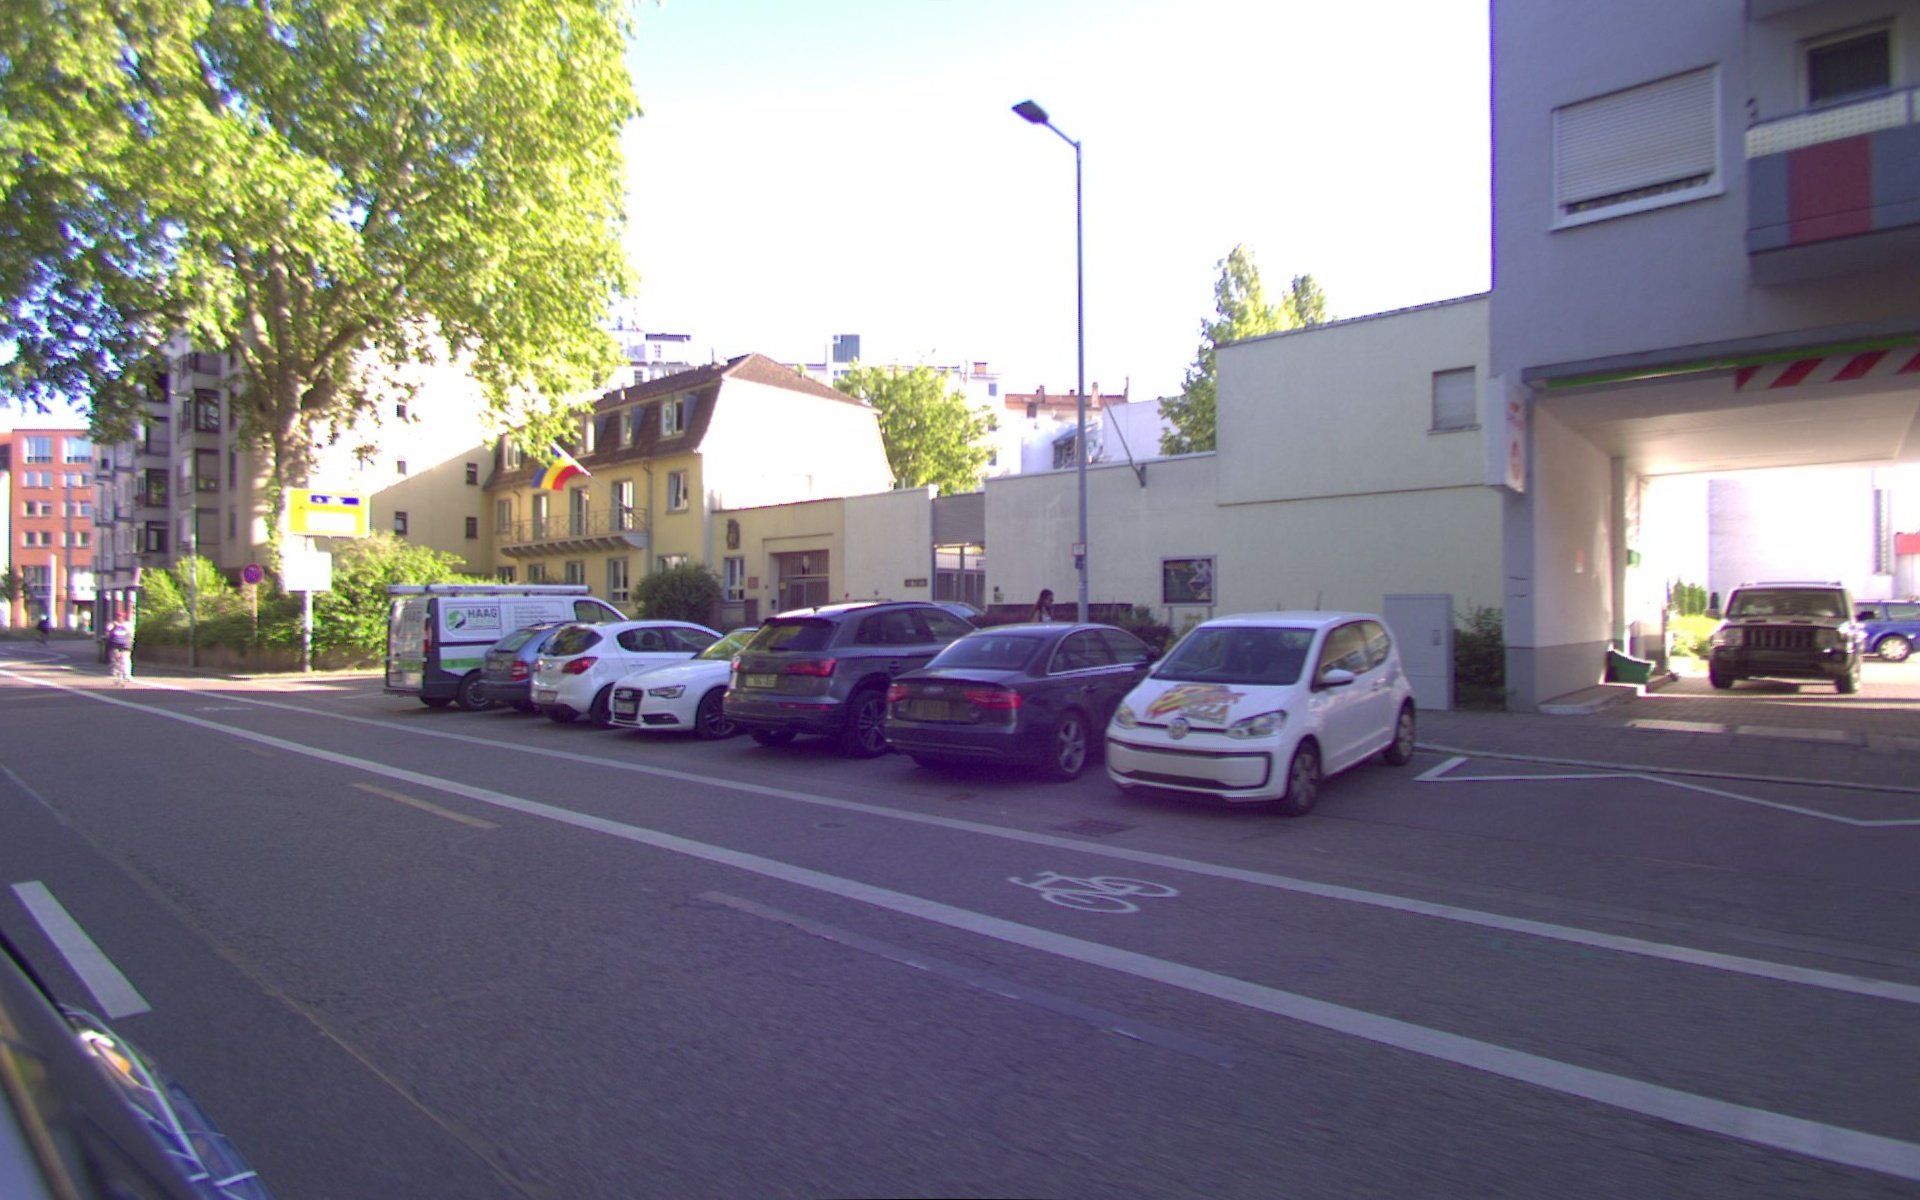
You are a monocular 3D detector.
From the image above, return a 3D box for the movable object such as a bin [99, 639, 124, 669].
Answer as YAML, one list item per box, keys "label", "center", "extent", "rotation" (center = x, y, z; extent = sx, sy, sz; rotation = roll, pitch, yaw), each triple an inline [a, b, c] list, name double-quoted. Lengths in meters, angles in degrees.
- label: "movable object such as a bin"
  center: [-31.257, 1.984, 37.281]
  extent: [0.644, 1.079, 0.588]
  rotation: [-1, -2, 41]

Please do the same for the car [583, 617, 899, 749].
- label: "car"
  center: [-2.885, 1.018, 13.953]
  extent: [1.852, 1.444, 3.946]
  rotation: [-2, -1, 40]

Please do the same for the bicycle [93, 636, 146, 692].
- label: "bicycle"
  center: [-19.776, 1.491, 23.799]
  extent: [2.048, 1.249, 0.600]
  rotation: [-2, -4, 41]

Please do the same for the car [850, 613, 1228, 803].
- label: "car"
  center: [0.975, 0.917, 10.394]
  extent: [1.915, 1.467, 3.946]
  rotation: [-1, 0, 40]

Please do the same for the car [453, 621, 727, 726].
- label: "car"
  center: [-6.124, 1.132, 17.092]
  extent: [1.852, 1.444, 3.946]
  rotation: [-1, 0, 40]

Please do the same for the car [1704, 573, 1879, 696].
- label: "car"
  center: [13.863, 0.516, 16.886]
  extent: [1.999, 1.763, 4.476]
  rotation: [-1, -1, 41]

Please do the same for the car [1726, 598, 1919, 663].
- label: "car"
  center: [21.452, 0.729, 24.734]
  extent: [4.252, 1.475, 1.757]
  rotation: [-1, -1, 41]

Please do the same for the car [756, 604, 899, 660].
- label: "car"
  center: [-3.851, 0.913, 29.726]
  extent: [1.890, 1.428, 3.819]
  rotation: [-3, -1, 43]

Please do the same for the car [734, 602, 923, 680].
- label: "car"
  center: [-2.869, 0.833, 21.620]
  extent: [3.998, 1.475, 1.771]
  rotation: [-2, 0, 41]

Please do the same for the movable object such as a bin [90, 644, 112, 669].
- label: "movable object such as a bin"
  center: [-32.680, 2.134, 38.502]
  extent: [0.603, 0.908, 0.536]
  rotation: [-1, -2, 41]

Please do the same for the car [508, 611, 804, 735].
- label: "car"
  center: [-4.508, 1.001, 15.445]
  extent: [1.852, 1.571, 3.946]
  rotation: [-2, -1, 40]

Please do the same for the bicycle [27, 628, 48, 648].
- label: "bicycle"
  center: [-56.830, 2.324, 62.334]
  extent: [2.178, 1.209, 0.721]
  rotation: [-1, -3, 43]

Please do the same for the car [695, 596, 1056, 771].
- label: "car"
  center: [-0.857, 0.837, 12.281]
  extent: [2.027, 1.696, 4.151]
  rotation: [-1, 0, 40]

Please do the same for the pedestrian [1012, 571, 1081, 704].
- label: "pedestrian"
  center: [1.213, 0.517, 14.181]
  extent: [0.722, 1.803, 0.625]
  rotation: [-2, -2, 40]

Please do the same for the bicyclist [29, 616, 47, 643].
- label: "bicyclist"
  center: [-56.803, 1.787, 62.336]
  extent: [1.167, 1.654, 0.721]
  rotation: [-1, -2, 42]

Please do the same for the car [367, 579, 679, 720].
- label: "car"
  center: [-7.859, 0.761, 18.606]
  extent: [2.138, 2.233, 4.795]
  rotation: [-1, 0, 40]

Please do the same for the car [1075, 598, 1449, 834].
- label: "car"
  center: [2.803, 0.803, 8.905]
  extent: [1.829, 1.524, 3.648]
  rotation: [-1, 1, 40]

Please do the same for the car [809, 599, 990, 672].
- label: "car"
  center: [-1.442, 0.790, 23.197]
  extent: [3.998, 1.475, 1.771]
  rotation: [-2, 1, 41]

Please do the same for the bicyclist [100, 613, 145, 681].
- label: "bicyclist"
  center: [-19.505, 1.091, 23.573]
  extent: [0.933, 1.557, 0.600]
  rotation: [-2, -4, 41]
